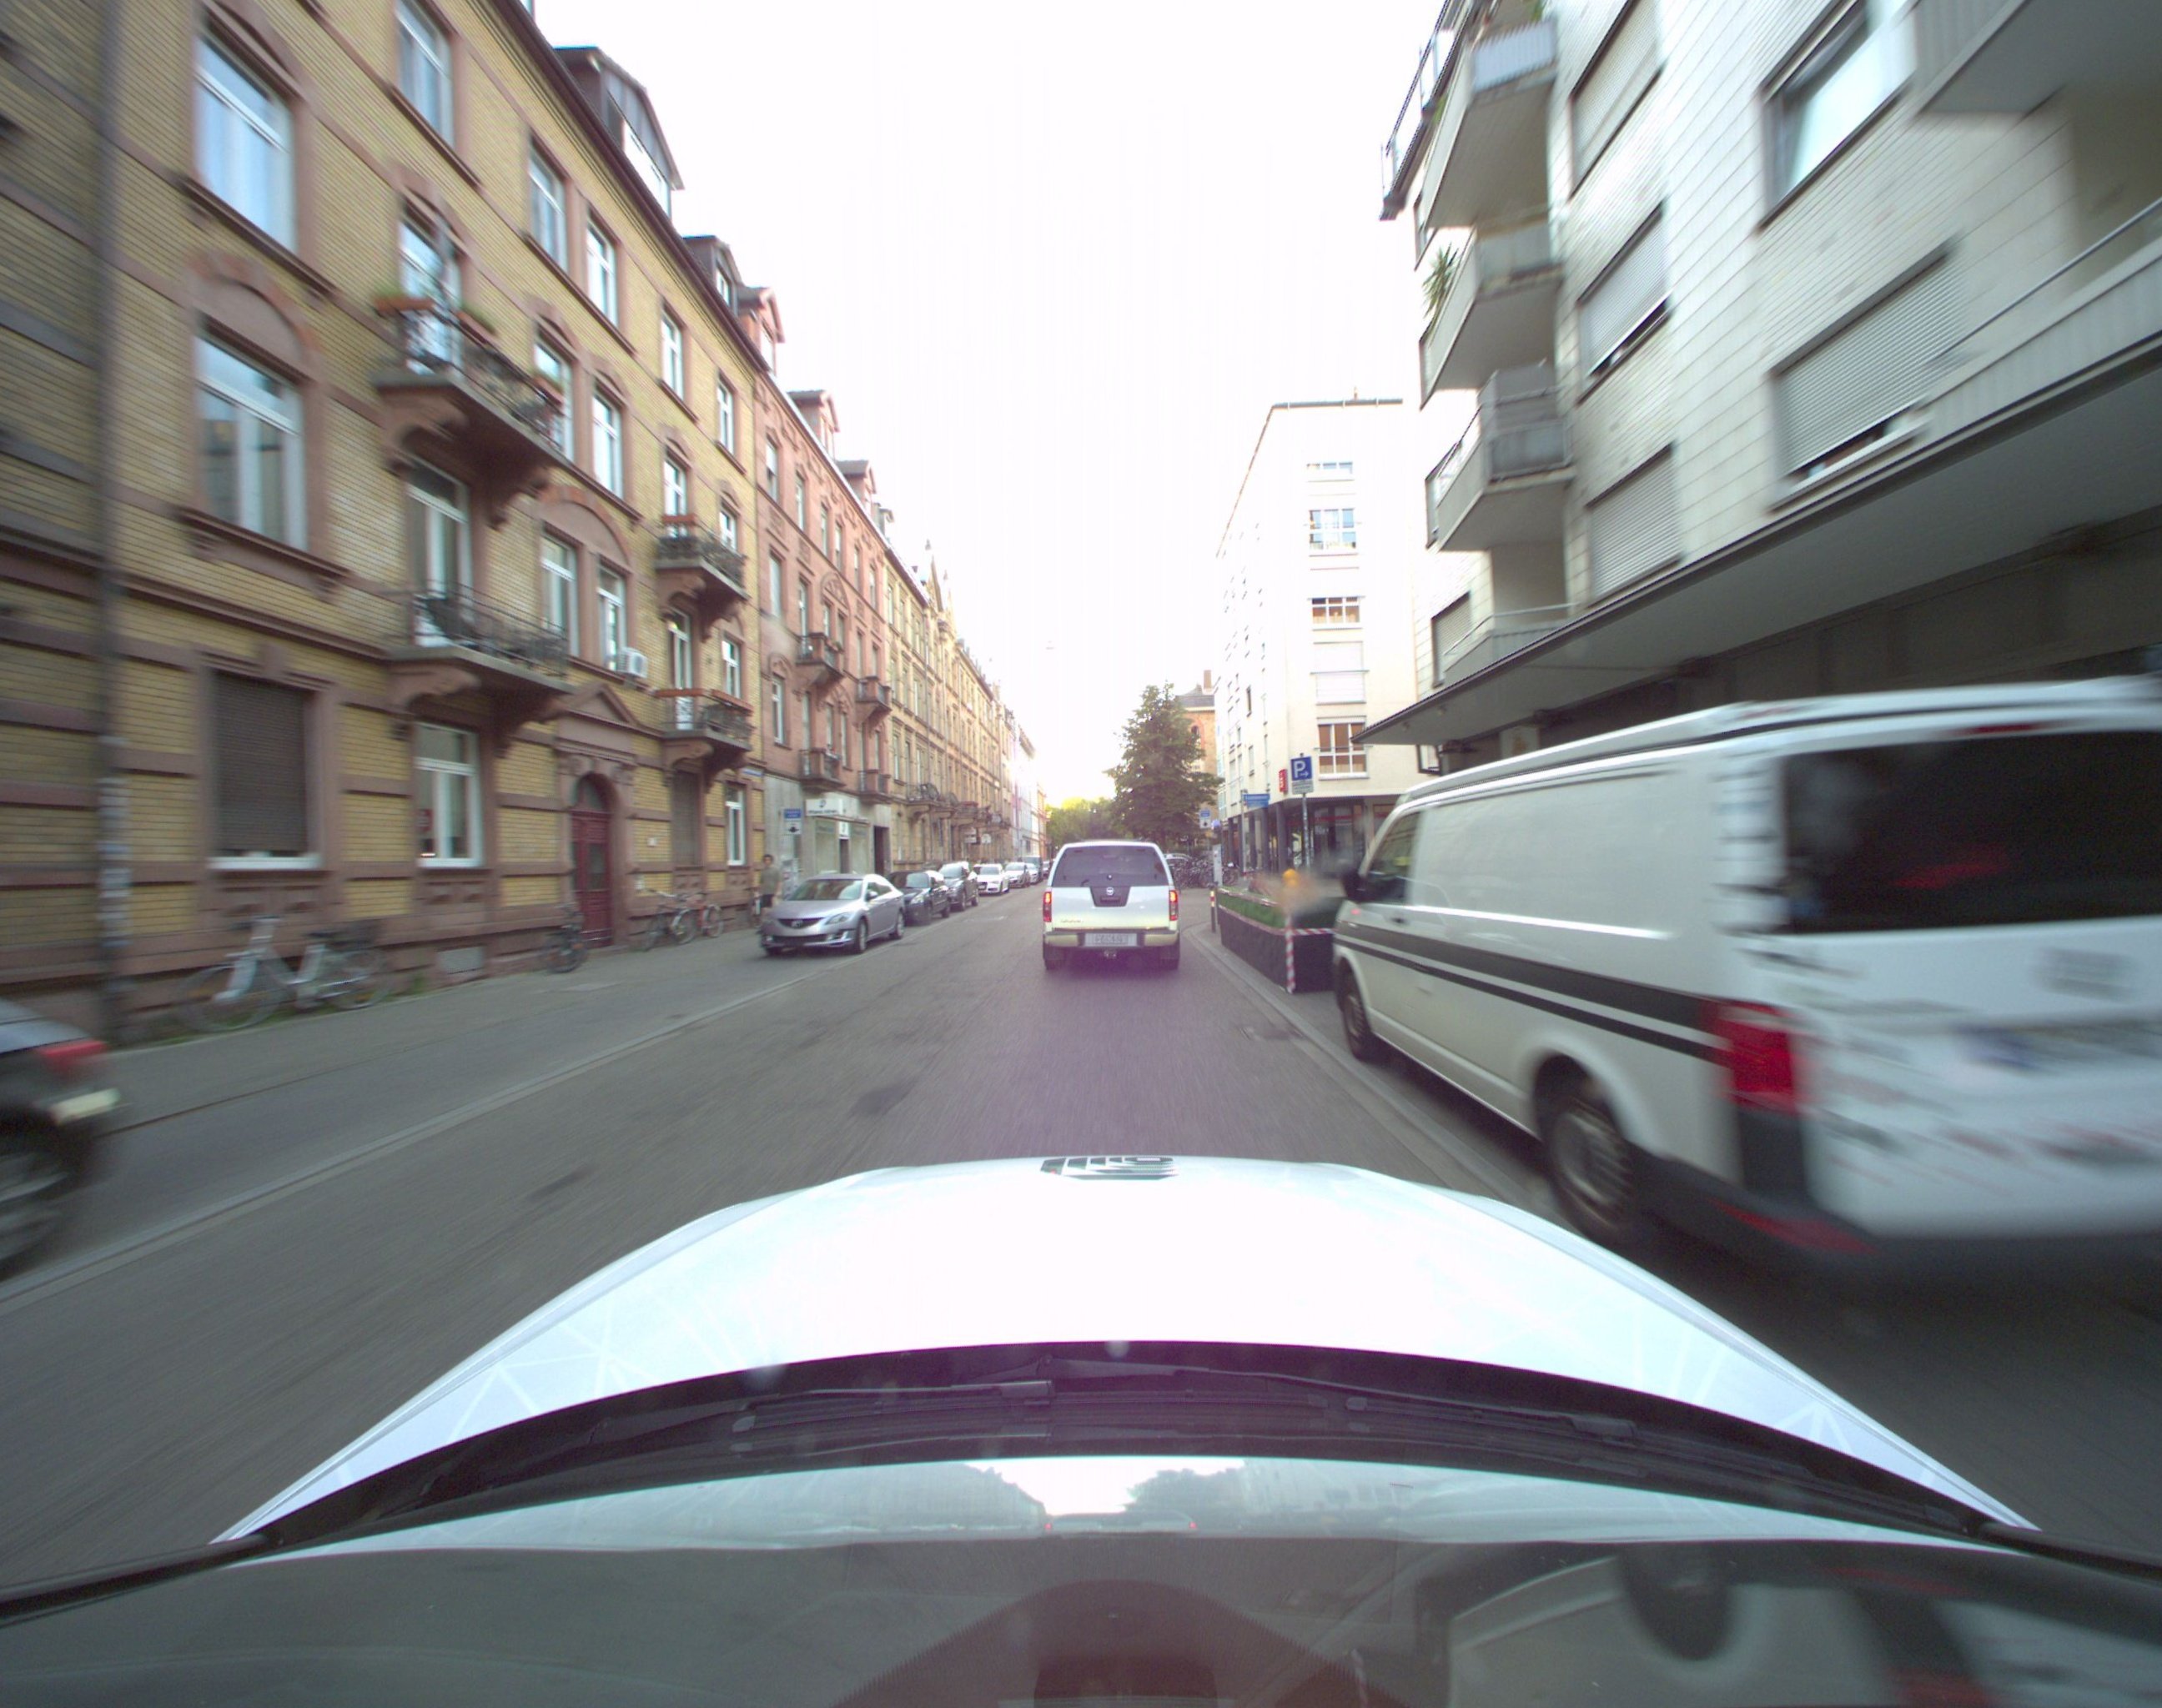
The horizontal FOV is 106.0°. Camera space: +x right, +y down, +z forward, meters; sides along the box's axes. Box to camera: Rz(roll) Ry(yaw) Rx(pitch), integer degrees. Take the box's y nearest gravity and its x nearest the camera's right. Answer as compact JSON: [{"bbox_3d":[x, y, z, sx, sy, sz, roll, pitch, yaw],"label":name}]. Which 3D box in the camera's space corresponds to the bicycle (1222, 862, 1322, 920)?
[{"bbox_3d":[4.116,0.814,17.655,1.919,1.134,0.661,-5,-1,38],"label":"bicycle"}]

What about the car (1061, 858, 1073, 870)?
[{"bbox_3d":[-2.235,1.625,130.912,1.806,1.977,4.182,-1,-1,-3],"label":"car"}]

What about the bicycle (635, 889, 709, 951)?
[{"bbox_3d":[-8.233,1.302,16.489,0.547,1.123,1.760,0,0,2],"label":"bicycle"}]

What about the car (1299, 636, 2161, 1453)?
[{"bbox_3d":[2.843,0.439,4.523,1.951,1.973,5.004,-4,0,2],"label":"car"}]

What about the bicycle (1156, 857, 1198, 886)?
[{"bbox_3d":[4.570,0.841,38.678,1.860,1.182,0.744,-6,-2,6],"label":"bicycle"}]

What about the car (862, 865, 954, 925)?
[{"bbox_3d":[-4.651,1.067,22.363,1.579,1.420,3.698,-1,0,2],"label":"car"}]

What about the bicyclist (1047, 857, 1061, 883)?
[{"bbox_3d":[-1.757,1.018,52.989,0.641,1.621,0.920,-4,-1,8],"label":"bicyclist"}]

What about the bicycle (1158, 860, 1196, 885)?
[{"bbox_3d":[4.793,0.925,40.663,1.765,1.022,0.565,-6,-2,4],"label":"bicycle"}]

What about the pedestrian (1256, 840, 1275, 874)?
[{"bbox_3d":[9.455,0.150,41.731,0.656,1.723,0.667,-3,1,28],"label":"pedestrian"}]

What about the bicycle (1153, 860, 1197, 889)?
[{"bbox_3d":[4.026,0.872,34.889,1.717,1.118,0.706,-4,-1,-1],"label":"bicycle"}]

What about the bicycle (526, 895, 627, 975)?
[{"bbox_3d":[-8.153,1.279,13.240,0.737,1.123,1.608,-1,0,-5],"label":"bicycle"}]

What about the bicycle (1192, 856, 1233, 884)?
[{"bbox_3d":[5.873,0.725,36.432,1.714,1.118,0.654,-4,-1,4],"label":"bicycle"}]

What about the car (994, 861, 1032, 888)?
[{"bbox_3d":[-3.948,1.151,47.702,1.710,1.457,4.003,-1,0,3],"label":"car"}]

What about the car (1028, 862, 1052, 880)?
[{"bbox_3d":[-3.479,1.436,69.624,1.730,1.418,4.779,-1,-1,1],"label":"car"}]

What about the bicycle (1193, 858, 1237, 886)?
[{"bbox_3d":[5.685,0.753,34.604,1.714,1.054,0.654,-4,-1,4],"label":"bicycle"}]

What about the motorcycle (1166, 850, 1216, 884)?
[{"bbox_3d":[5.758,0.685,42.811,2.481,1.549,0.825,-5,-2,4],"label":"motorcycle"}]

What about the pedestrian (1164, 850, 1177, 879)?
[{"bbox_3d":[5.396,0.637,49.090,0.625,1.753,0.585,-1,-2,-10],"label":"pedestrian"}]

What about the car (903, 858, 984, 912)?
[{"bbox_3d":[-4.568,0.983,27.648,1.846,1.633,4.447,-1,0,1],"label":"car"}]

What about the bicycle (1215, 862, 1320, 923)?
[{"bbox_3d":[3.811,0.798,16.718,1.919,1.134,0.661,-5,-1,38],"label":"bicycle"}]

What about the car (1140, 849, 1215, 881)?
[{"bbox_3d":[5.924,0.658,50.584,4.384,1.647,1.746,-4,-1,0],"label":"car"}]

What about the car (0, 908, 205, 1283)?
[{"bbox_3d":[-5.181,0.988,2.013,1.686,1.420,3.859,-1,0,4],"label":"car"}]

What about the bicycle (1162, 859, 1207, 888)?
[{"bbox_3d":[4.537,0.856,35.671,1.803,1.118,0.706,-4,-1,-1],"label":"bicycle"}]

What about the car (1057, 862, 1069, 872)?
[{"bbox_3d":[-2.548,1.854,116.829,1.693,1.426,4.020,-1,-1,-1],"label":"car"}]

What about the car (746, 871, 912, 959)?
[{"bbox_3d":[-4.736,1.076,16.030,1.716,1.420,4.583,-1,-1,1],"label":"car"}]

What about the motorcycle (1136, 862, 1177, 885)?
[{"bbox_3d":[4.057,1.032,43.737,2.061,1.078,0.660,-4,-1,-14],"label":"motorcycle"}]

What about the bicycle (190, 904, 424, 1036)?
[{"bbox_3d":[-8.456,1.202,9.052,0.524,1.171,2.050,0,0,5],"label":"bicycle"}]

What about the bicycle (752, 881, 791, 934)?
[{"bbox_3d":[-7.395,1.258,19.502,0.709,1.196,1.732,-1,-2,-16],"label":"bicycle"}]

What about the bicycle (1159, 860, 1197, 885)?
[{"bbox_3d":[4.761,0.919,40.044,1.712,1.031,0.668,-6,-2,4],"label":"bicycle"}]

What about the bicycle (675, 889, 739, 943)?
[{"bbox_3d":[-8.183,1.339,17.891,0.547,1.037,1.760,0,0,2],"label":"bicycle"}]

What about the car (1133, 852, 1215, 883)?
[{"bbox_3d":[5.434,0.786,47.825,4.416,1.455,1.776,-4,0,-5],"label":"car"}]

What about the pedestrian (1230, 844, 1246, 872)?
[{"bbox_3d":[9.967,0.259,51.690,0.724,1.716,0.963,-4,-1,1],"label":"pedestrian"}]

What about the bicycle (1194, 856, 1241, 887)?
[{"bbox_3d":[5.619,0.713,33.580,1.723,1.131,0.577,-4,-1,-11],"label":"bicycle"}]

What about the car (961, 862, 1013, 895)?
[{"bbox_3d":[-4.315,1.101,38.105,1.751,1.412,4.510,-1,0,1],"label":"car"}]

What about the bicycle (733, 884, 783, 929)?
[{"bbox_3d":[-8.249,1.324,20.878,0.447,1.022,1.849,1,0,2],"label":"bicycle"}]

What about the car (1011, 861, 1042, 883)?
[{"bbox_3d":[-3.653,1.217,55.261,1.778,1.423,4.484,0,0,0],"label":"car"}]

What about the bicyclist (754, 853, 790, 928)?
[{"bbox_3d":[-7.410,0.863,19.543,0.709,1.730,0.838,-1,-2,-16],"label":"bicyclist"}]

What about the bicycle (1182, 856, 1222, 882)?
[{"bbox_3d":[5.770,0.722,38.808,1.718,1.118,0.653,-4,-1,-2],"label":"bicycle"}]

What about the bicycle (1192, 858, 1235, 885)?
[{"bbox_3d":[5.741,0.767,35.275,1.714,1.054,0.654,-4,-1,4],"label":"bicycle"}]

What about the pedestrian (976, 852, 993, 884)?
[{"bbox_3d":[-5.392,0.773,45.589,0.550,1.755,1.026,-2,-2,16],"label":"pedestrian"}]

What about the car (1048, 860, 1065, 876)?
[{"bbox_3d":[-2.837,1.606,94.870,1.840,1.659,4.250,-2,-1,-1],"label":"car"}]

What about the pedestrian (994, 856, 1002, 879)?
[{"bbox_3d":[-6.408,1.034,62.765,0.578,1.772,0.997,1,0,-3],"label":"pedestrian"}]

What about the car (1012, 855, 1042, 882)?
[{"bbox_3d":[-3.944,1.022,60.502,1.987,1.924,4.949,0,0,-1],"label":"car"}]

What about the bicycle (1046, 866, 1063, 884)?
[{"bbox_3d":[-1.709,1.366,53.157,0.641,1.081,2.173,-4,0,8],"label":"bicycle"}]

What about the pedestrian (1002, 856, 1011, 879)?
[{"bbox_3d":[-5.755,1.020,62.986,0.604,1.772,0.776,1,0,-3],"label":"pedestrian"}]

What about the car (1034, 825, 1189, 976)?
[{"bbox_3d":[0.574,0.603,12.728,1.902,1.853,5.276,-1,-1,4],"label":"car"}]

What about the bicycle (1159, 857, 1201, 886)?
[{"bbox_3d":[4.613,0.818,37.834,1.777,1.182,0.736,-6,-2,11],"label":"bicycle"}]

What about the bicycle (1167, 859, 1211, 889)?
[{"bbox_3d":[4.502,0.820,34.021,1.714,1.118,0.708,-4,-1,4],"label":"bicycle"}]

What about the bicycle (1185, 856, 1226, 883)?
[{"bbox_3d":[5.803,0.723,38.086,1.718,1.118,0.653,-4,-1,-2],"label":"bicycle"}]

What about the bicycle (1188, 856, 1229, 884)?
[{"bbox_3d":[5.784,0.735,37.003,1.714,1.118,0.654,-4,-1,4],"label":"bicycle"}]
